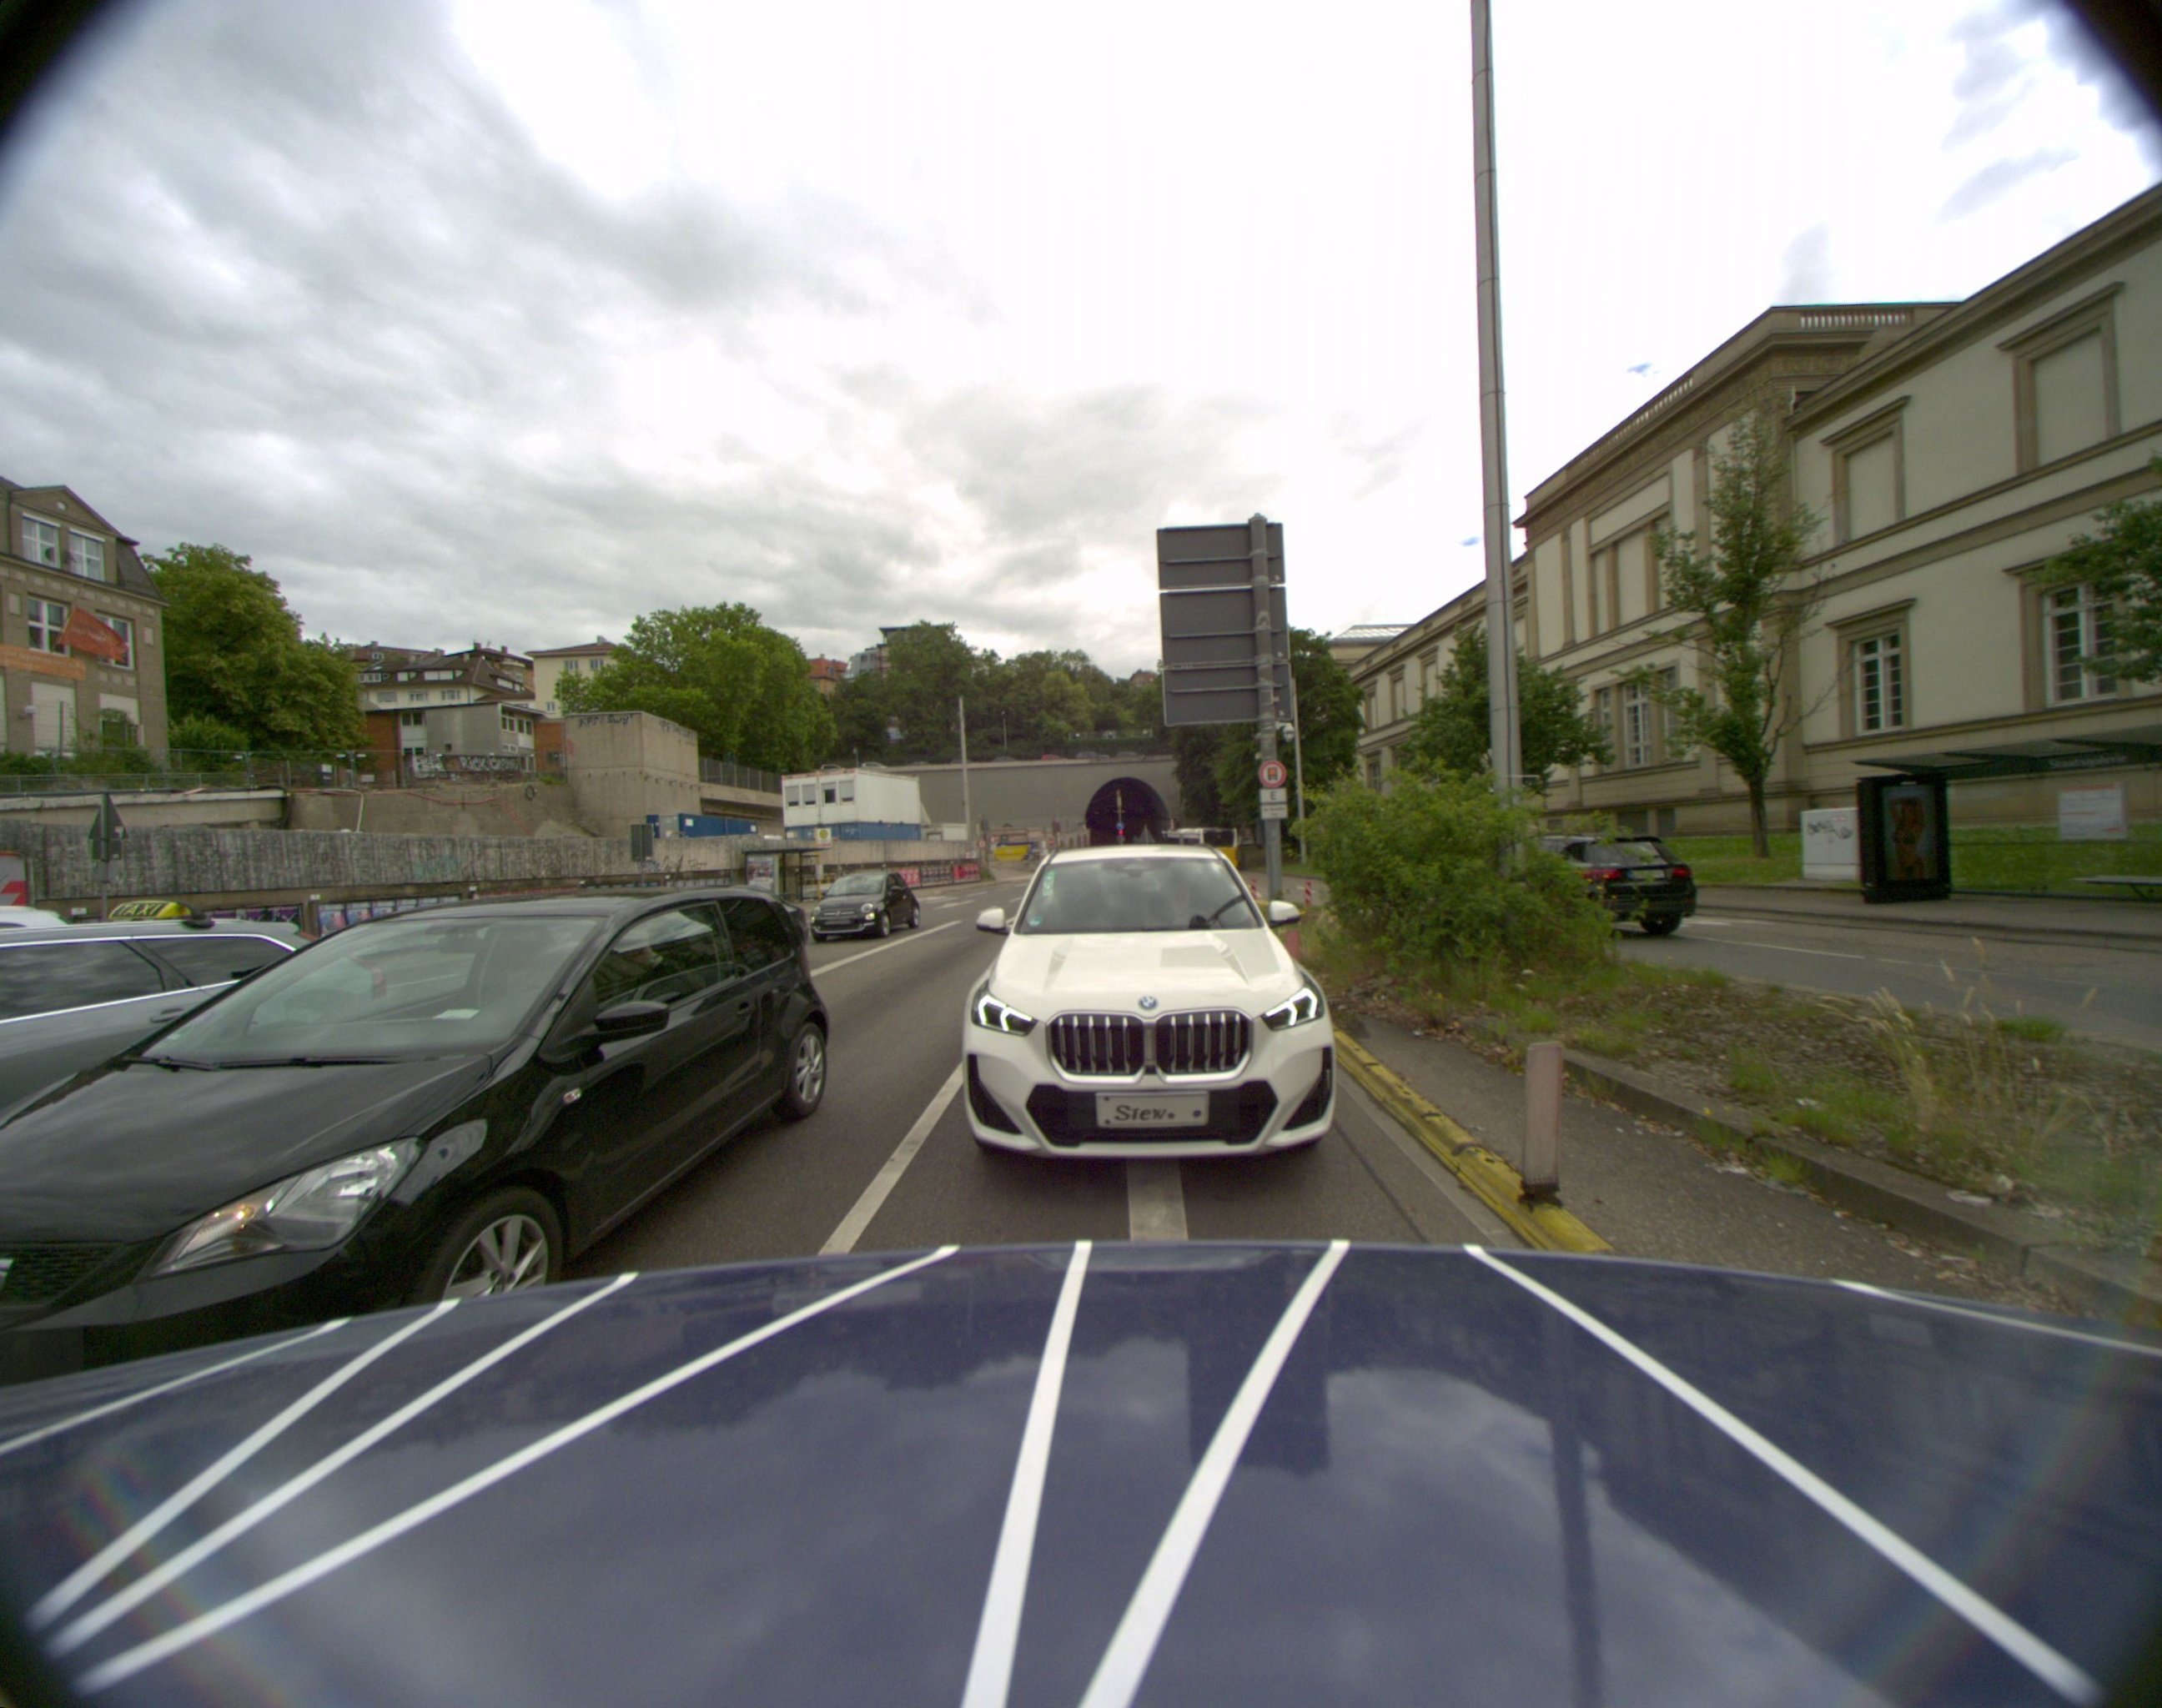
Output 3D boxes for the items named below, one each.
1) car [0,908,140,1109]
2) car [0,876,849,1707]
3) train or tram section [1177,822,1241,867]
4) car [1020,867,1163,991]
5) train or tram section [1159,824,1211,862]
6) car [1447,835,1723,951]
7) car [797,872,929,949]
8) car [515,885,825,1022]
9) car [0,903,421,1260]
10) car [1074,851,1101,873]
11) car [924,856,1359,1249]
[{"bbox_3d":[-9.155,1.257,4.580,1.826,1.457,4.073,-2,1,0],"label":"car"},{"bbox_3d":[-2.534,0.977,3.276,1.661,1.547,3.911,-2,1,3],"label":"car"},{"bbox_3d":[9.242,-0.640,56.031,2.701,3.053,9.334,-1,0,-3],"label":"train or tram section"},{"bbox_3d":[0.217,0.990,11.599,1.756,1.427,3.911,-2,0,3],"label":"car"},{"bbox_3d":[8.790,-0.878,65.387,2.701,3.053,9.374,-1,0,-3],"label":"train or tram section"},{"bbox_3d":[8.376,0.543,13.222,1.884,1.616,4.370,-2,1,0],"label":"car"},{"bbox_3d":[-4.962,1.232,17.860,1.720,1.450,3.782,-3,0,4],"label":"car"},{"bbox_3d":[-5.404,1.226,10.762,1.826,1.356,4.219,-2,0,4],"label":"car"},{"bbox_3d":[-5.829,1.142,3.456,1.826,1.457,4.217,-2,1,2],"label":"car"},{"bbox_3d":[0.503,0.590,58.346,1.948,1.565,3.999,-2,1,1],"label":"car"},{"bbox_3d":[0.334,0.846,5.123,1.756,1.547,3.911,-2,1,3],"label":"car"}]
